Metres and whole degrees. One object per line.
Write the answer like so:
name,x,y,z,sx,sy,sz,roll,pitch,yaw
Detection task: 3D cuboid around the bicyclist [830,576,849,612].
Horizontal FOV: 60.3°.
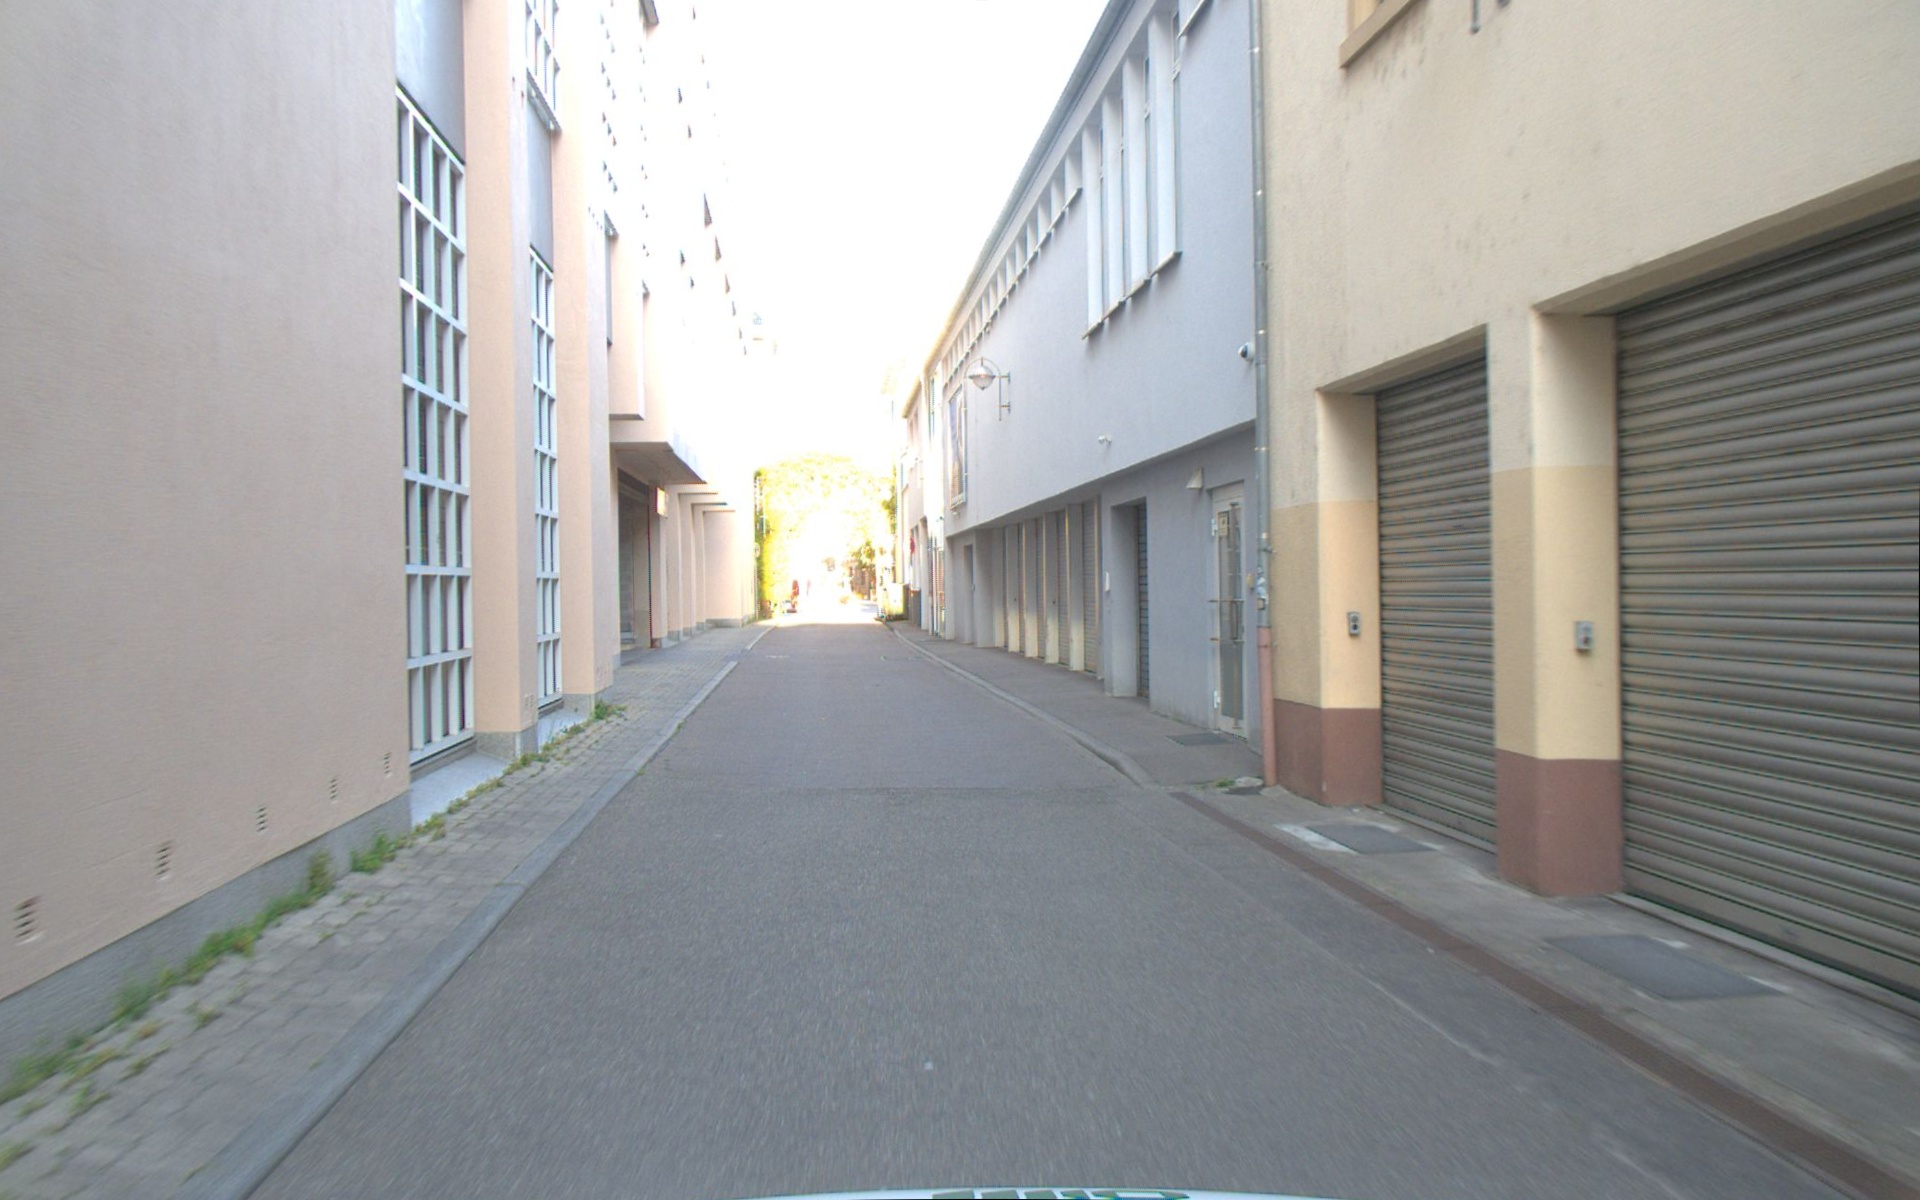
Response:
bicyclist,-5.974,-0.298,82.029,0.864,1.816,0.734,0,0,-10

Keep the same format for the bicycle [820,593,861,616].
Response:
bicycle,-5.934,0.208,82.034,1.948,1.132,0.734,0,0,-10

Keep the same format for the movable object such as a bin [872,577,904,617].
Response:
movable object such as a bin,-2.679,-0.113,61.560,0.921,1.390,1.338,-3,1,-11
